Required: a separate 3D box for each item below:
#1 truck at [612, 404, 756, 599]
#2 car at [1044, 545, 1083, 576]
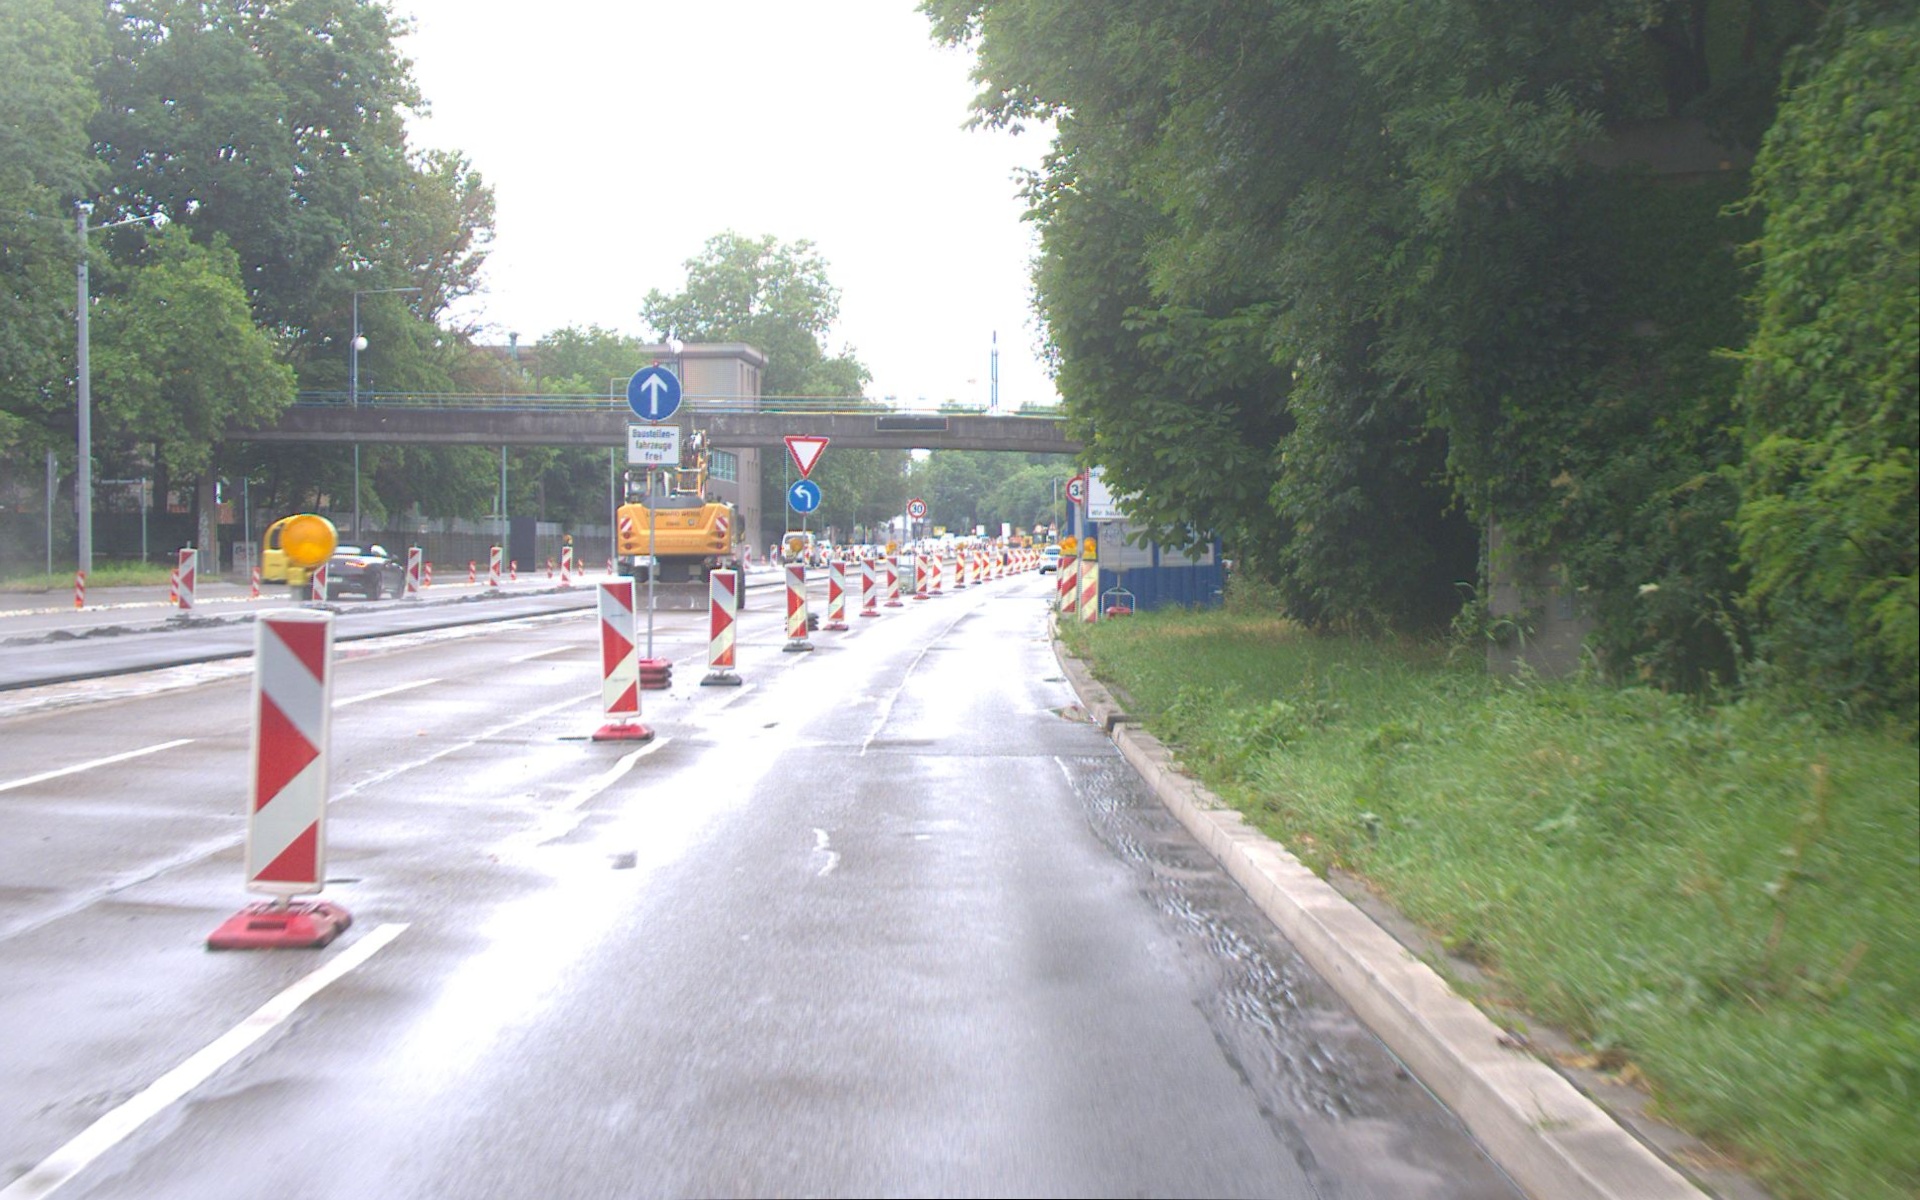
[{"bbox_3d":[-6.426,-2.282,81.383,2.897,4.244,10.757,1,1,-2],"label":"truck"},{"bbox_3d":[5.443,-2.082,180.497,1.994,1.634,4.000,0,1,3],"label":"car"}]
